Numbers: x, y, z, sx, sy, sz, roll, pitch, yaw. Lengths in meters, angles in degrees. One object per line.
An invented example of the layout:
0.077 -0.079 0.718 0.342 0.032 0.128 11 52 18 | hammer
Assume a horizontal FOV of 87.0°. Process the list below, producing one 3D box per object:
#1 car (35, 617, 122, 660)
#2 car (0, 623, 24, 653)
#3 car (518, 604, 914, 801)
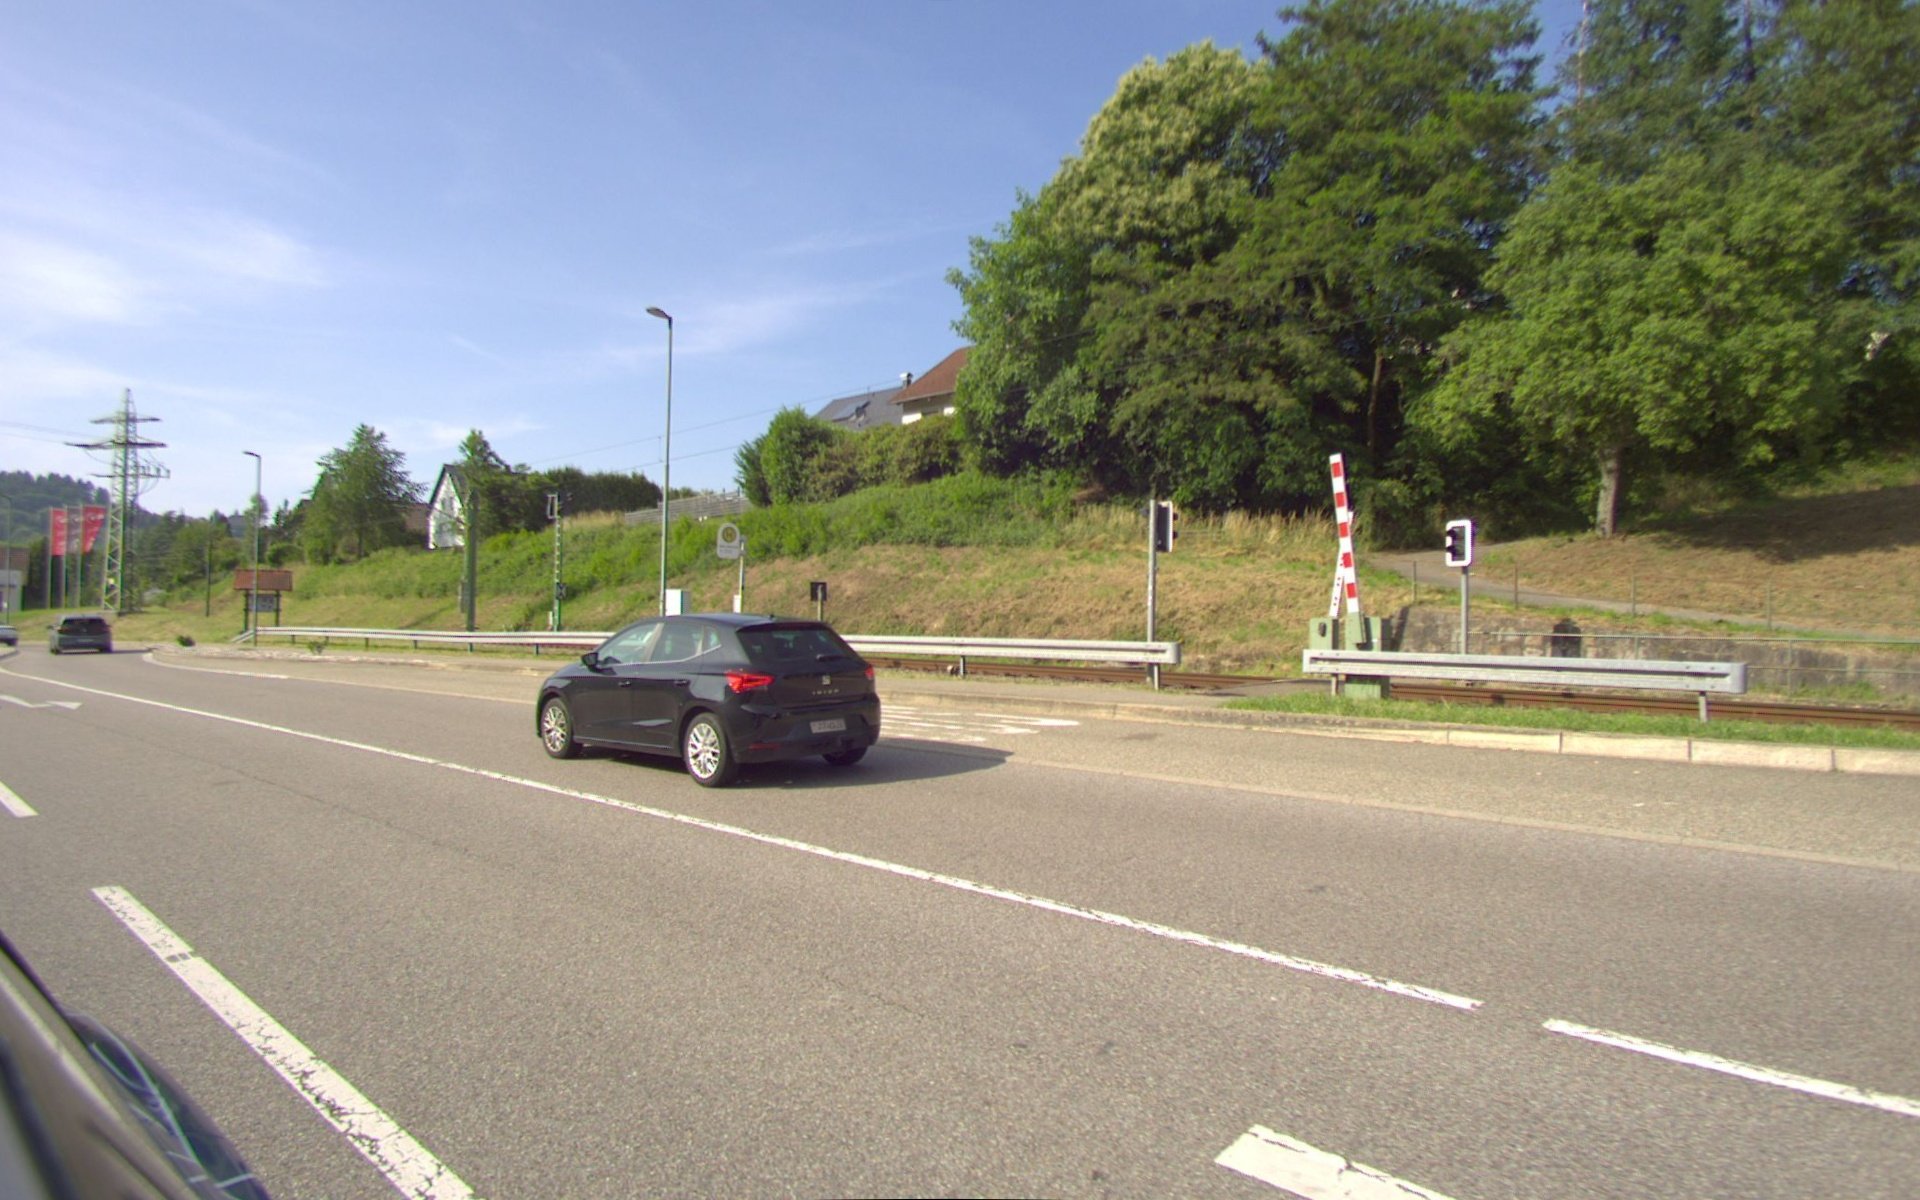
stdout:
-34.844 1.468 39.985 3.997 1.541 1.973 -1 0 40 | car
-50.005 1.952 51.700 3.979 1.453 1.982 -1 0 27 | car
-2.463 0.806 9.654 3.998 1.497 1.669 -1 -1 41 | car
